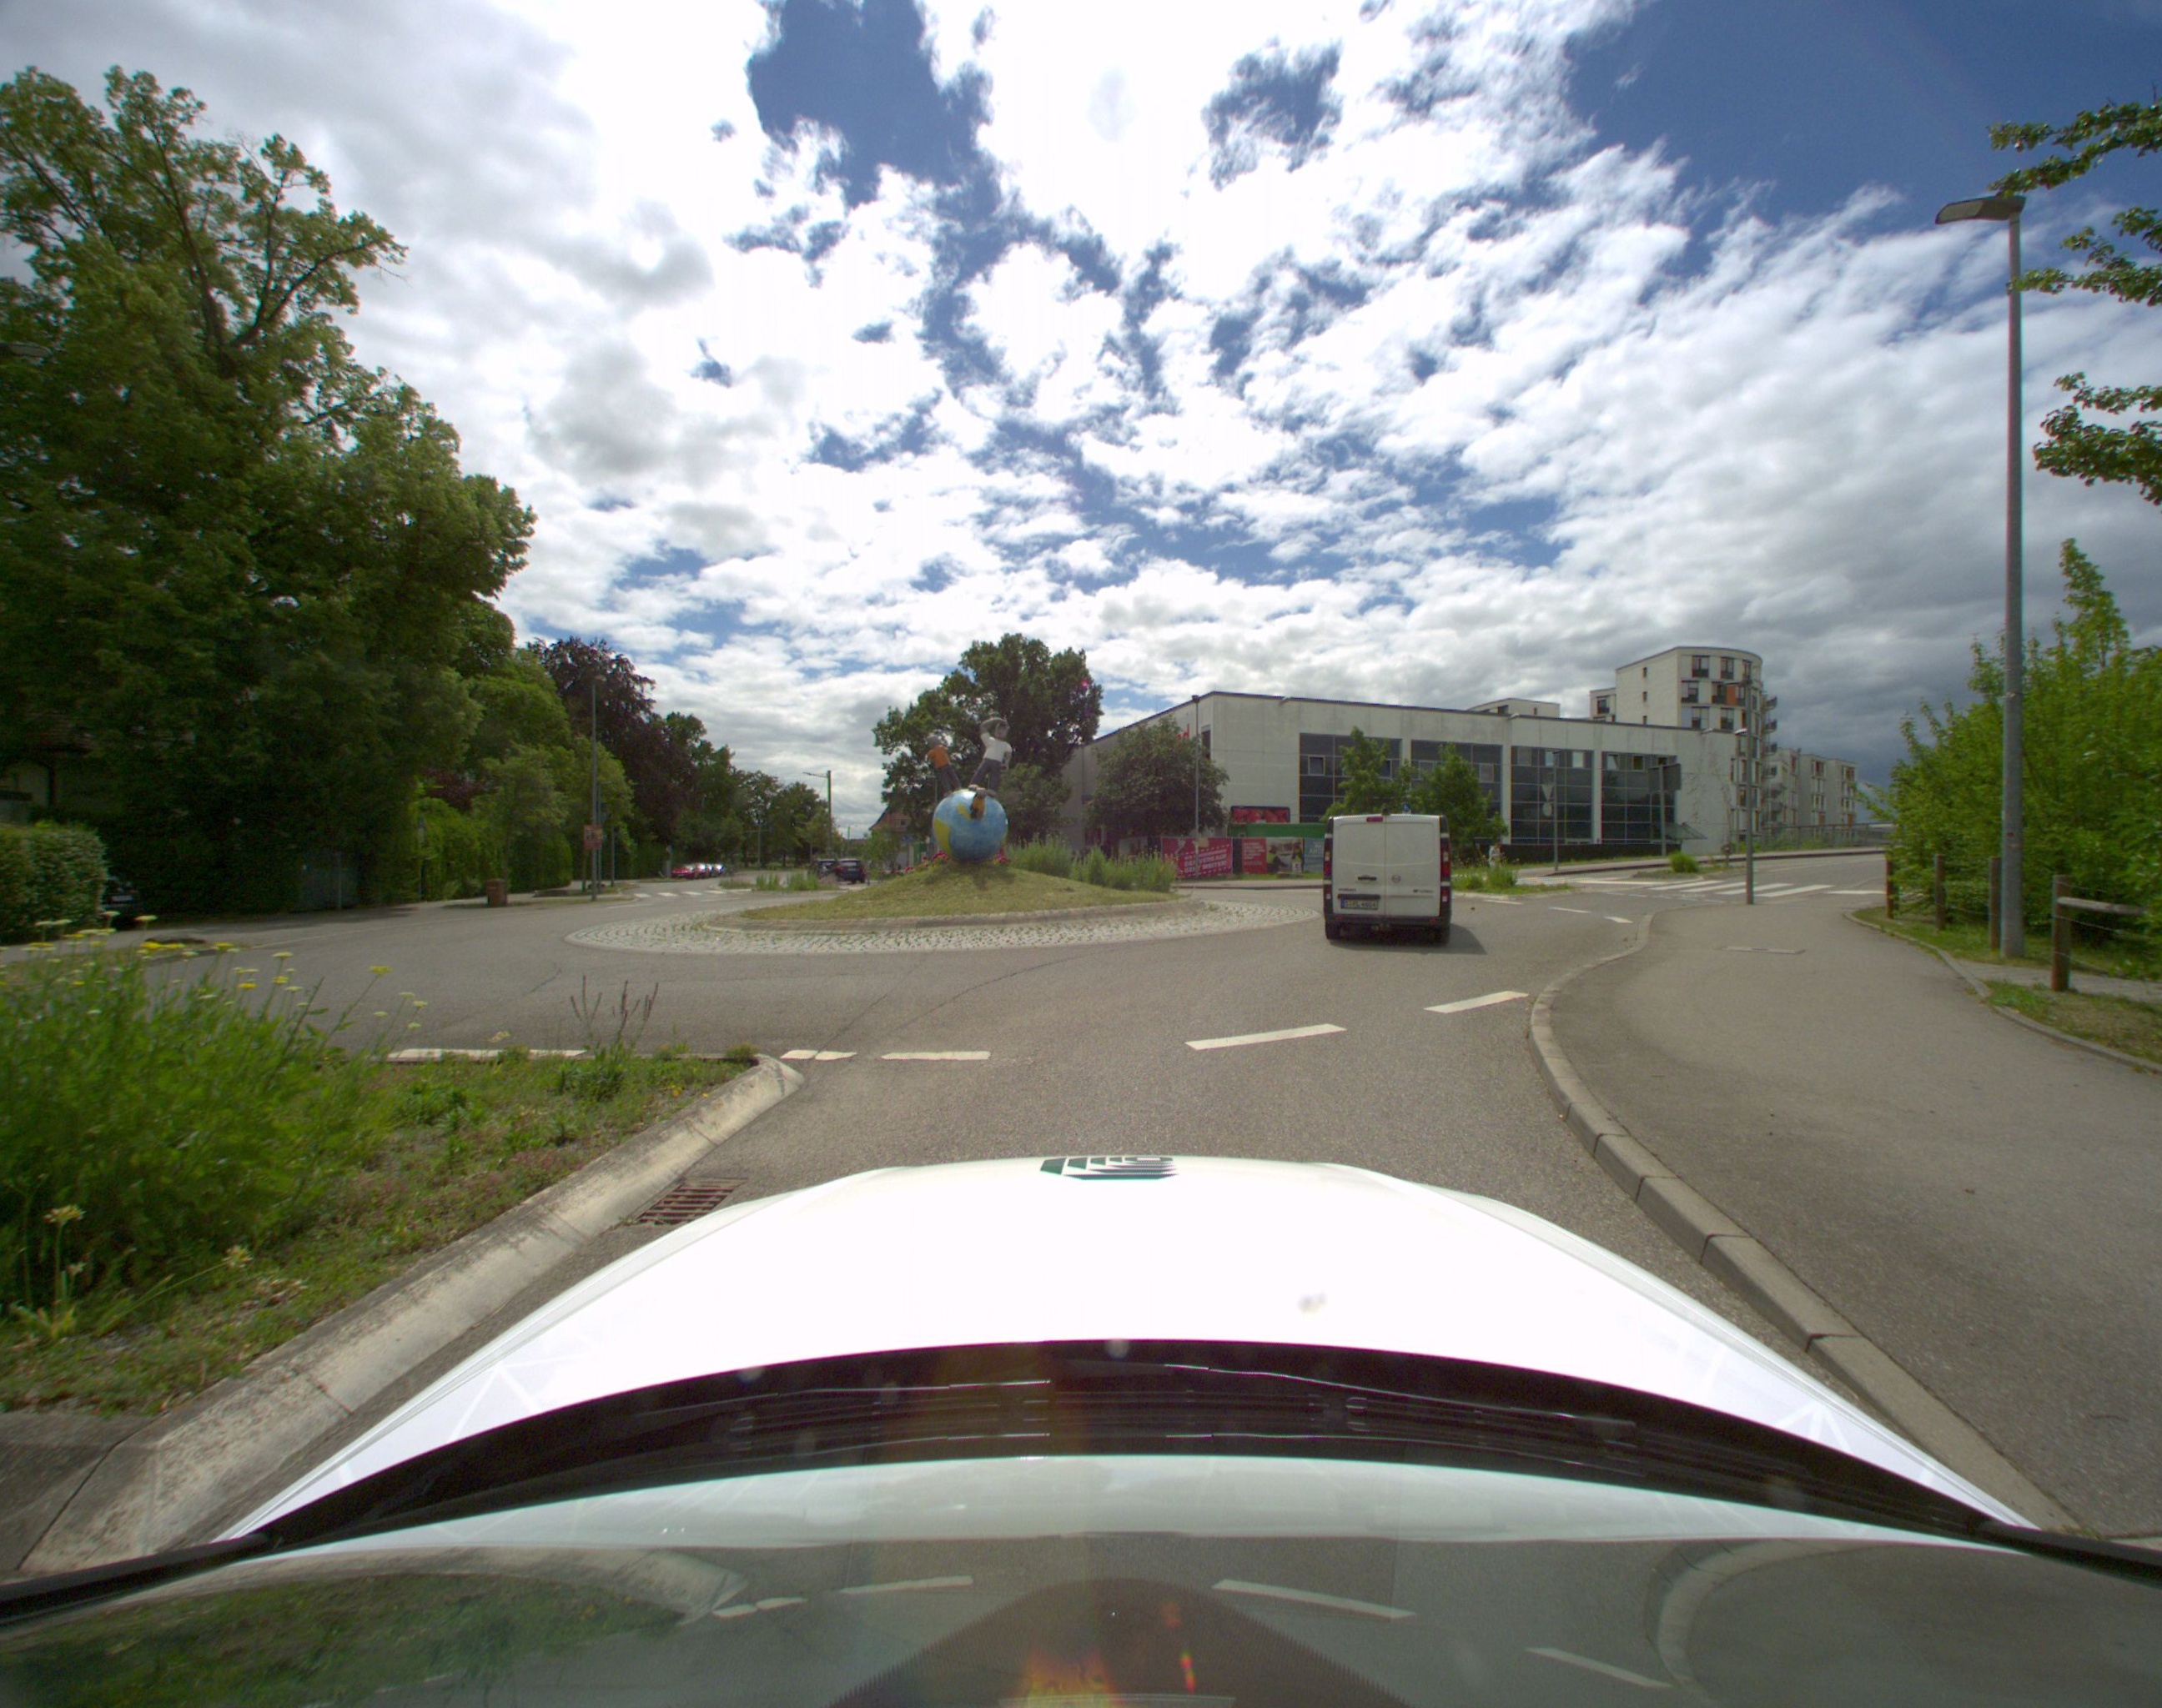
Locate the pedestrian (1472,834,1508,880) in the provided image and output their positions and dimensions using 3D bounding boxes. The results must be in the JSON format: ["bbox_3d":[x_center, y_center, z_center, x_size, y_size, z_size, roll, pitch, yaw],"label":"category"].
[{"bbox_3d":[14.144,0.103,28.155,1.024,1.541,0.900,1,0,29],"label":"pedestrian"}]

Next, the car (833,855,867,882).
[{"bbox_3d":[-14.354,0.875,50.846,1.936,1.537,3.905,0,1,-15],"label":"car"}]

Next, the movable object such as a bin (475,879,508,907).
[{"bbox_3d":[-19.443,1.289,26.889,0.629,0.863,0.638,-2,0,-7],"label":"movable object such as a bin"}]

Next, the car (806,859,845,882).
[{"bbox_3d":[-18.115,1.118,57.658,1.930,1.500,3.889,0,1,-29],"label":"car"}]

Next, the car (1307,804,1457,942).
[{"bbox_3d":[5.368,0.281,14.163,2.016,1.945,5.021,1,0,24],"label":"car"}]

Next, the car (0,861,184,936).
[{"bbox_3d":[-23.098,0.970,18.024,3.981,1.486,1.996,-1,0,-6],"label":"car"}]

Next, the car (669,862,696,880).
[{"bbox_3d":[-34.997,1.490,71.481,2.074,1.386,4.012,0,1,-27],"label":"car"}]
